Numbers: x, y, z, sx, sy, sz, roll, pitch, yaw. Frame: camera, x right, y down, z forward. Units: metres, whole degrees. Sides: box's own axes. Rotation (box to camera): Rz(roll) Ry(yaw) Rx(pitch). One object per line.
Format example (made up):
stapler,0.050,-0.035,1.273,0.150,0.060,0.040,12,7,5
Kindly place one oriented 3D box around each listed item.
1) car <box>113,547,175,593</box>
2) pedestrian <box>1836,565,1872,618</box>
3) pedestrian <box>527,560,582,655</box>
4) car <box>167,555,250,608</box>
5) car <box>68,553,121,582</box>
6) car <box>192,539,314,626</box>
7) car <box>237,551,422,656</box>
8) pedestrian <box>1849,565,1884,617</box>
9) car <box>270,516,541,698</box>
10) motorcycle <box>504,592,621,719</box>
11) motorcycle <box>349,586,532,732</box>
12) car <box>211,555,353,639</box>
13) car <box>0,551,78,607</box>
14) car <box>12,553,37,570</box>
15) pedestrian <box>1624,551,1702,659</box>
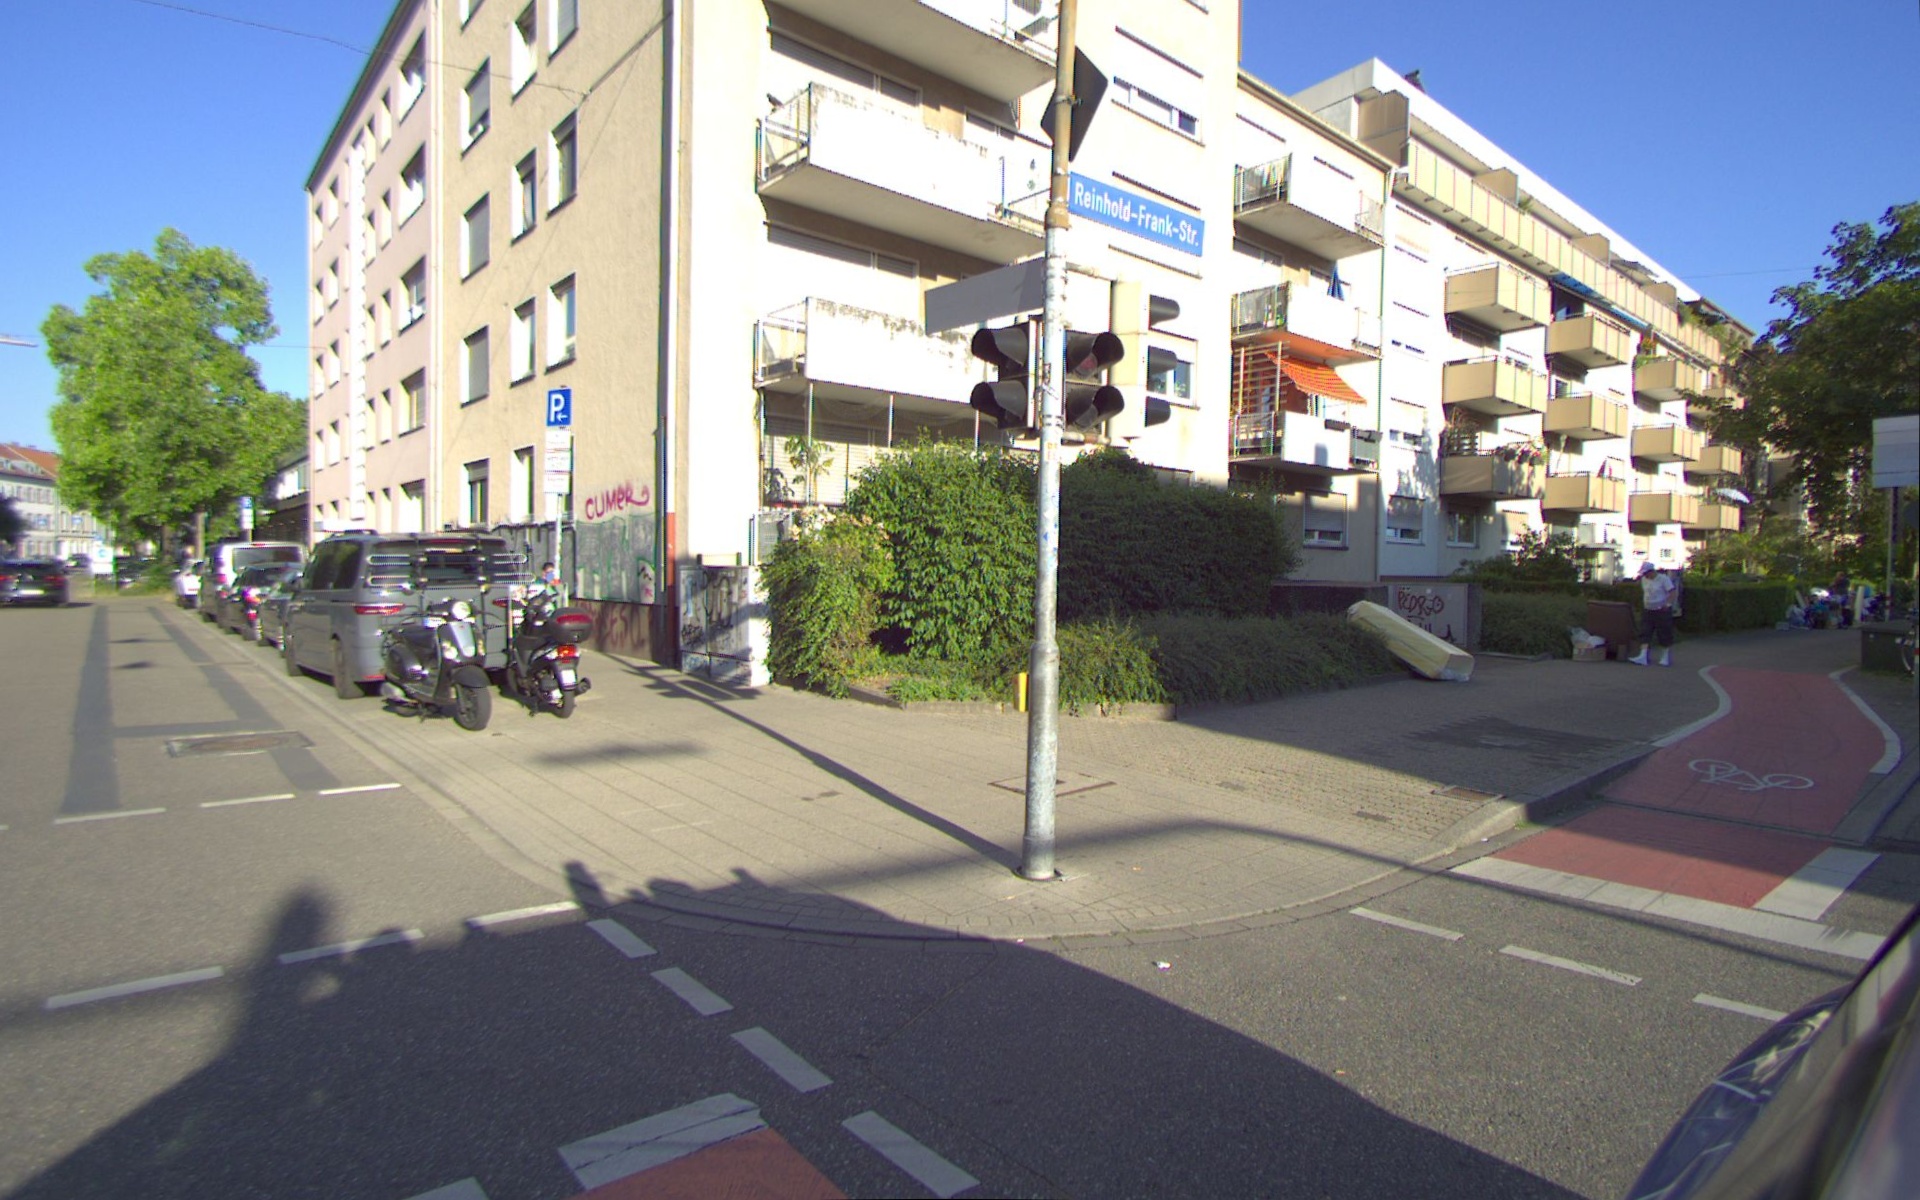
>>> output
car,-35.196,-1.319,43.612,1.919,1.860,4.349,-1,3,-41
pedestrian,29.189,-0.299,33.036,0.815,1.703,0.660,-1,3,-35
pedestrian,-6.190,0.102,15.436,0.584,1.408,0.641,-1,2,-41
car,-25.577,-0.668,34.405,1.919,1.681,4.349,-1,3,-41
car,-52.552,-2.001,61.537,1.915,1.681,4.357,-1,2,-34
car,-17.478,-0.492,24.911,1.919,1.930,5.070,-1,3,-41
car,-11.106,-0.045,17.677,1.920,1.560,4.614,-3,4,-42
pedestrian,30.421,-0.315,33.963,0.815,1.703,0.660,-1,3,-35
car,-7.254,-0.042,12.968,1.920,1.888,4.836,-3,4,-42
motorcycle,-3.992,0.498,10.093,0.584,1.125,1.697,-1,2,-39
motorcycle,-4.942,0.495,9.579,1.980,1.215,0.764,1,2,38
car,-14.318,-0.146,21.278,1.920,1.560,4.286,-3,4,-41
car,-29.925,-0.722,32.603,1.917,1.681,4.354,-1,3,-37
car,-95.390,-3.917,103.159,3.644,1.630,1.627,2,3,44
pedestrian,11.481,0.059,16.532,0.648,1.703,0.831,-1,3,-36
